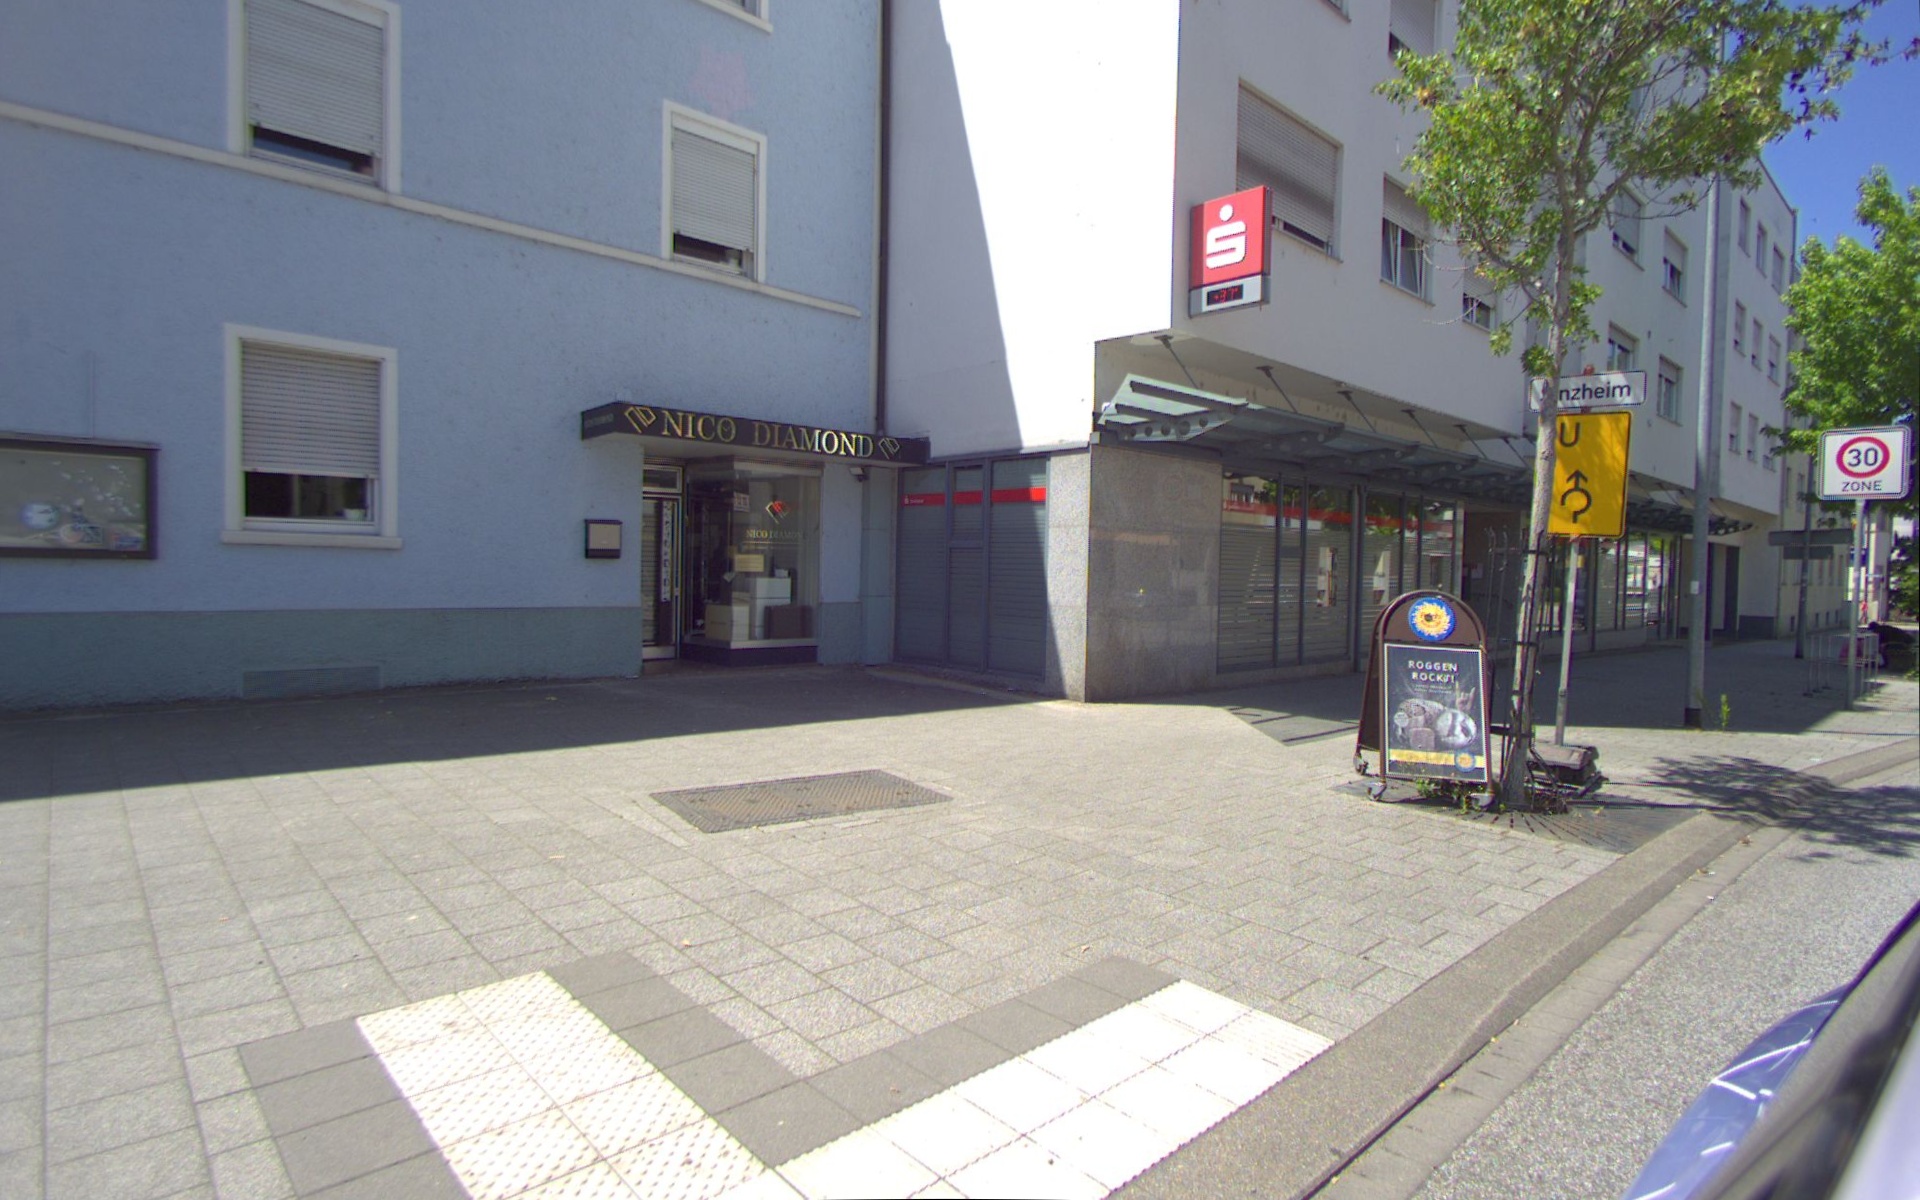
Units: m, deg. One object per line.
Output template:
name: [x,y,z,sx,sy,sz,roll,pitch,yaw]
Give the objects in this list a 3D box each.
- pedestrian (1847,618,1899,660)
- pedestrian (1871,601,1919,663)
pedestrian: [20.219,0.855,22.414,0.527,0.862,0.681,1,2,-28]
pedestrian: [20.014,0.677,21.525,0.527,1.255,0.764,1,2,-28]
